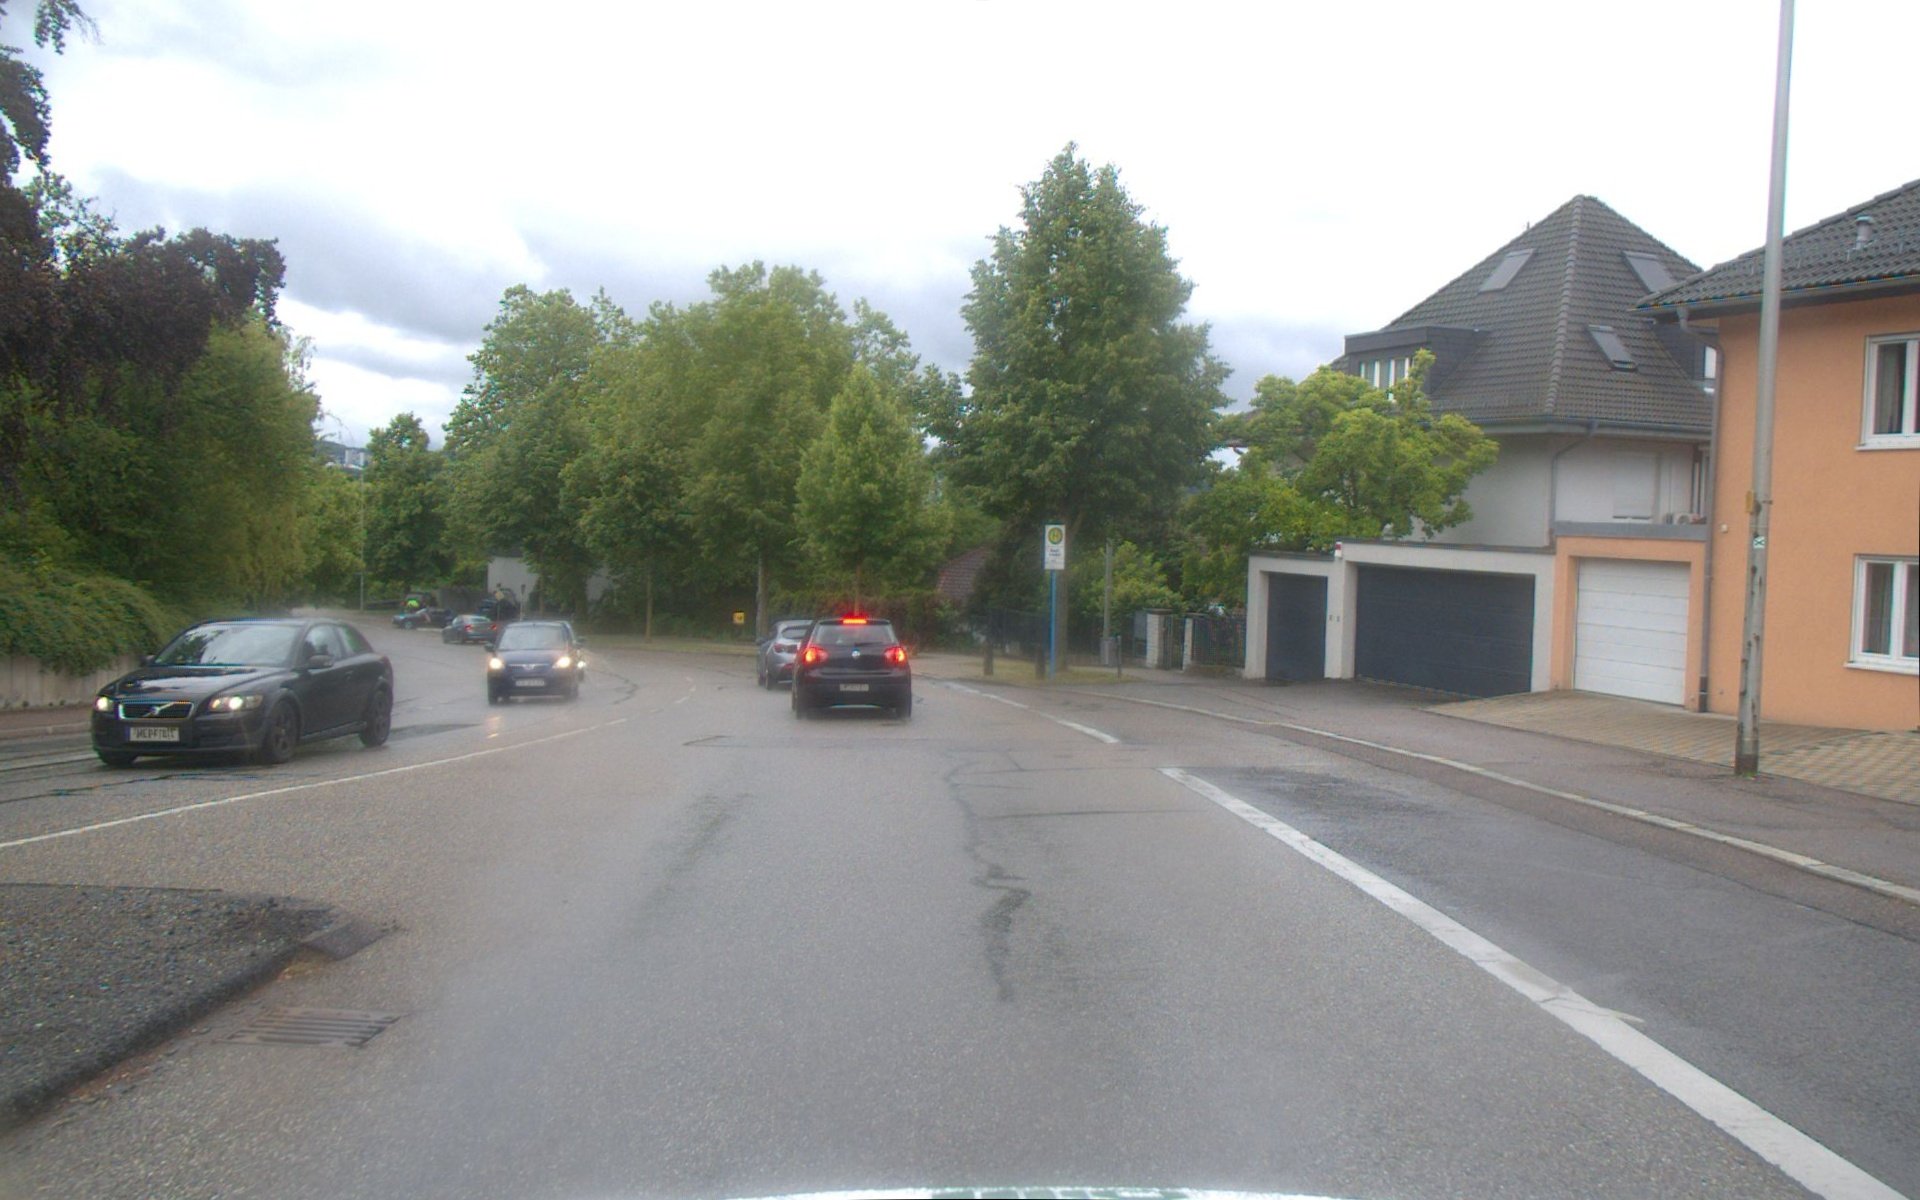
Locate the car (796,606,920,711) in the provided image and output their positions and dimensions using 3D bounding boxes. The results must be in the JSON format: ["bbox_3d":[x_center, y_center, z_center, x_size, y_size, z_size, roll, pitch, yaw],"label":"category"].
[{"bbox_3d":[-1.651,0.849,25.613,1.689,1.490,3.994,0,-1,-7],"label":"car"}]

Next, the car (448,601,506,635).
[{"bbox_3d":[-23.736,0.858,81.167,1.705,1.489,3.957,4,-1,-32],"label":"car"}]

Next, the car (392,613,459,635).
[{"bbox_3d":[-34.620,1.555,107.105,4.068,1.408,1.716,0,-1,-22],"label":"car"}]

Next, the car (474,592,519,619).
[{"bbox_3d":[-33.244,0.377,118.678,1.714,1.495,4.569,3,4,3],"label":"car"}]

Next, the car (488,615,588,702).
[{"bbox_3d":[-8.269,1.096,32.697,1.691,1.489,4.364,0,1,-12],"label":"car"}]

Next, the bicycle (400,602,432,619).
[{"bbox_3d":[-36.794,0.709,111.862,2.003,1.175,0.849,0,0,-22],"label":"bicycle"}]

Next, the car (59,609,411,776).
[{"bbox_3d":[-7.211,0.840,16.993,1.754,1.472,4.401,0,0,-1],"label":"car"}]

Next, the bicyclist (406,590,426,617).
[{"bbox_3d":[-36.806,0.220,111.864,1.264,1.786,0.849,0,0,-22],"label":"bicyclist"}]

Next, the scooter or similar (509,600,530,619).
[{"bbox_3d":[-31.220,0.703,117.320,1.327,1.308,0.553,-2,1,-41],"label":"scooter or similar"}]

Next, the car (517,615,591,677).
[{"bbox_3d":[-11.025,1.214,45.121,1.778,1.604,4.672,0,-1,-12],"label":"car"}]

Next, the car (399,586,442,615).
[{"bbox_3d":[-38.521,0.000,118.242,1.910,1.718,4.899,2,3,-6],"label":"car"}]

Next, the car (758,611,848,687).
[{"bbox_3d":[-3.557,1.046,36.929,1.722,1.489,3.991,0,1,-10],"label":"car"}]
